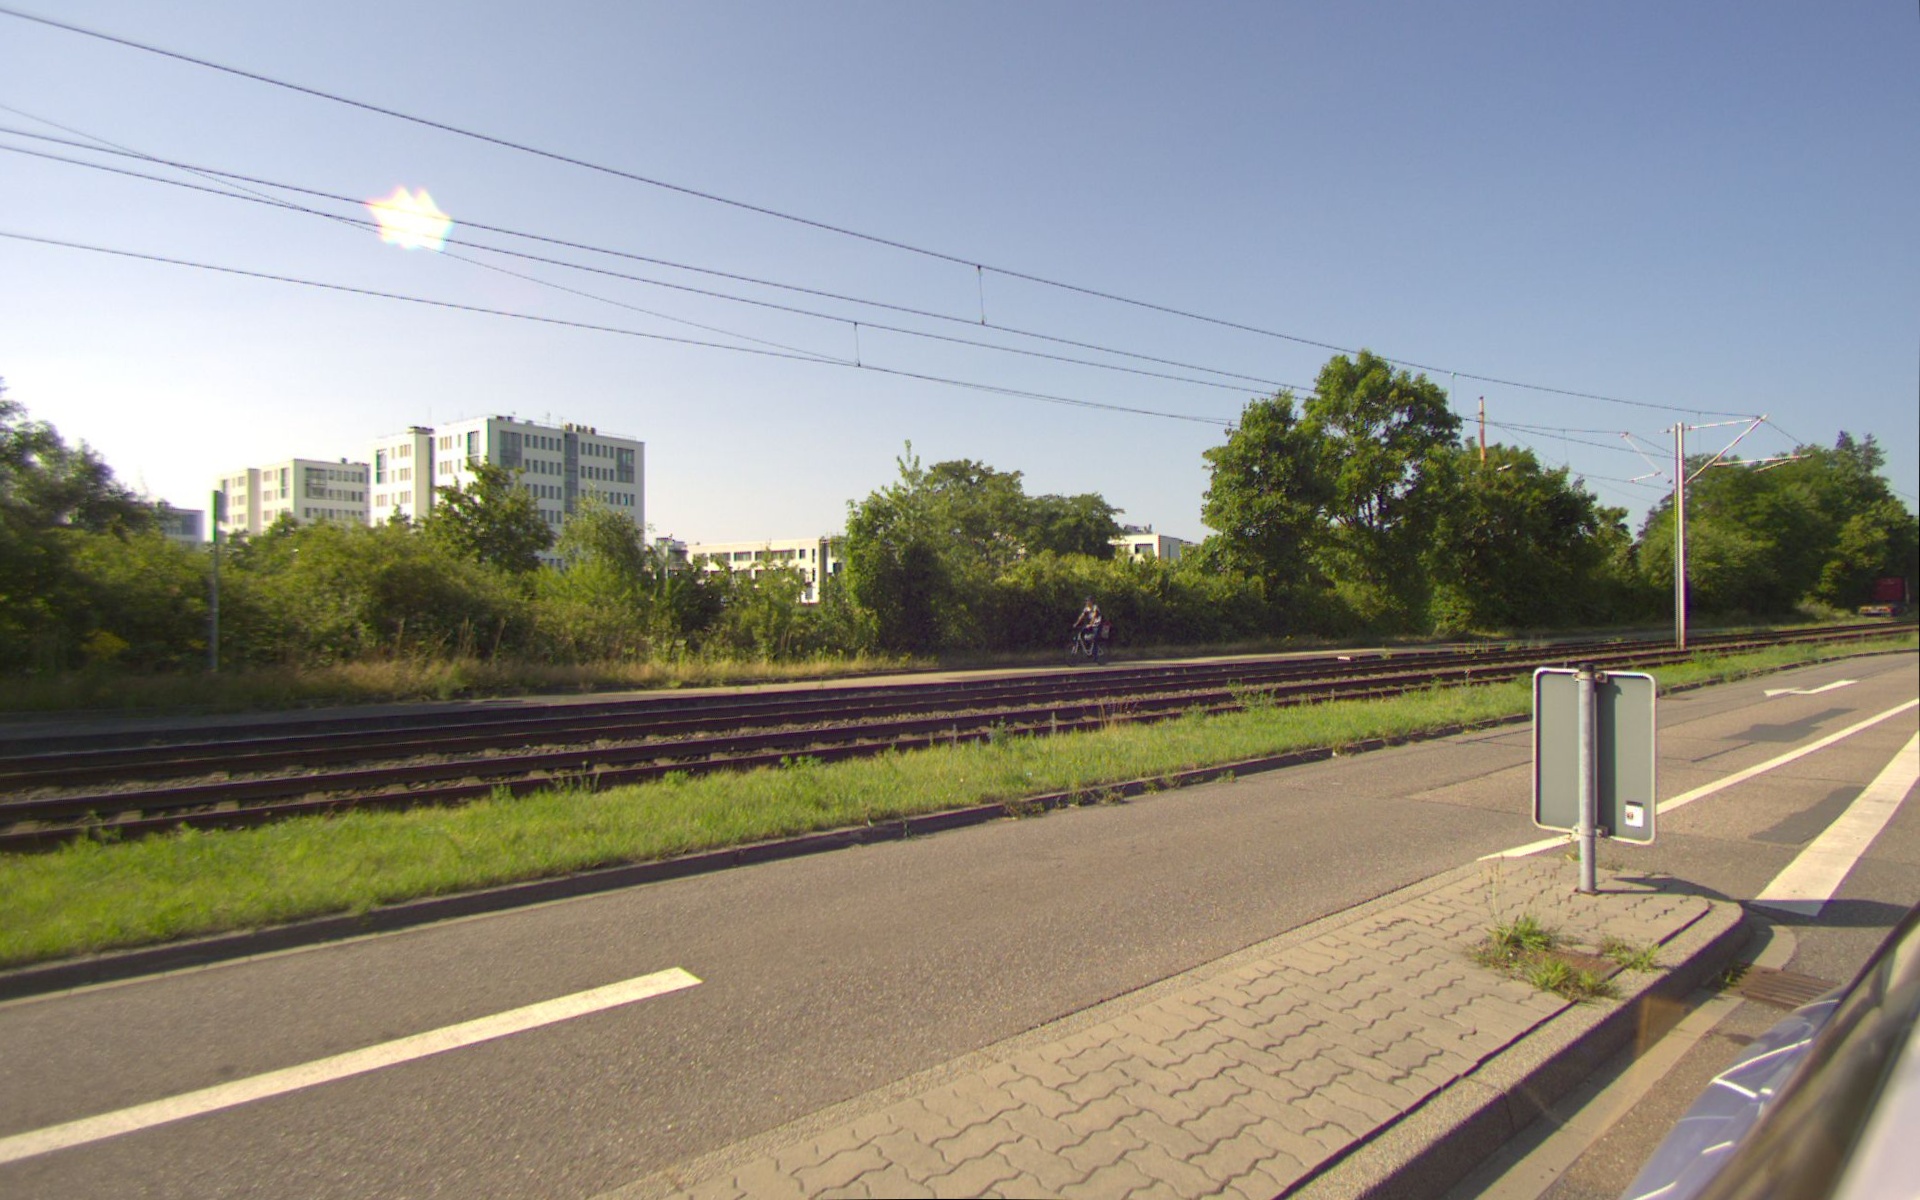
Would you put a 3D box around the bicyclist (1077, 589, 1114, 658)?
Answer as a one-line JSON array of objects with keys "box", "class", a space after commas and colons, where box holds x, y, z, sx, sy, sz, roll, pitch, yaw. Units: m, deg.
[{"box": [3.664, 0.629, 27.339, 0.705, 1.831, 0.707, 0, -1, -40], "class": "bicyclist"}]

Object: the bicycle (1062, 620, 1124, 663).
[{"box": [3.595, 1.100, 27.278, 1.841, 1.060, 0.546, 0, 0, -41], "class": "bicycle"}]
